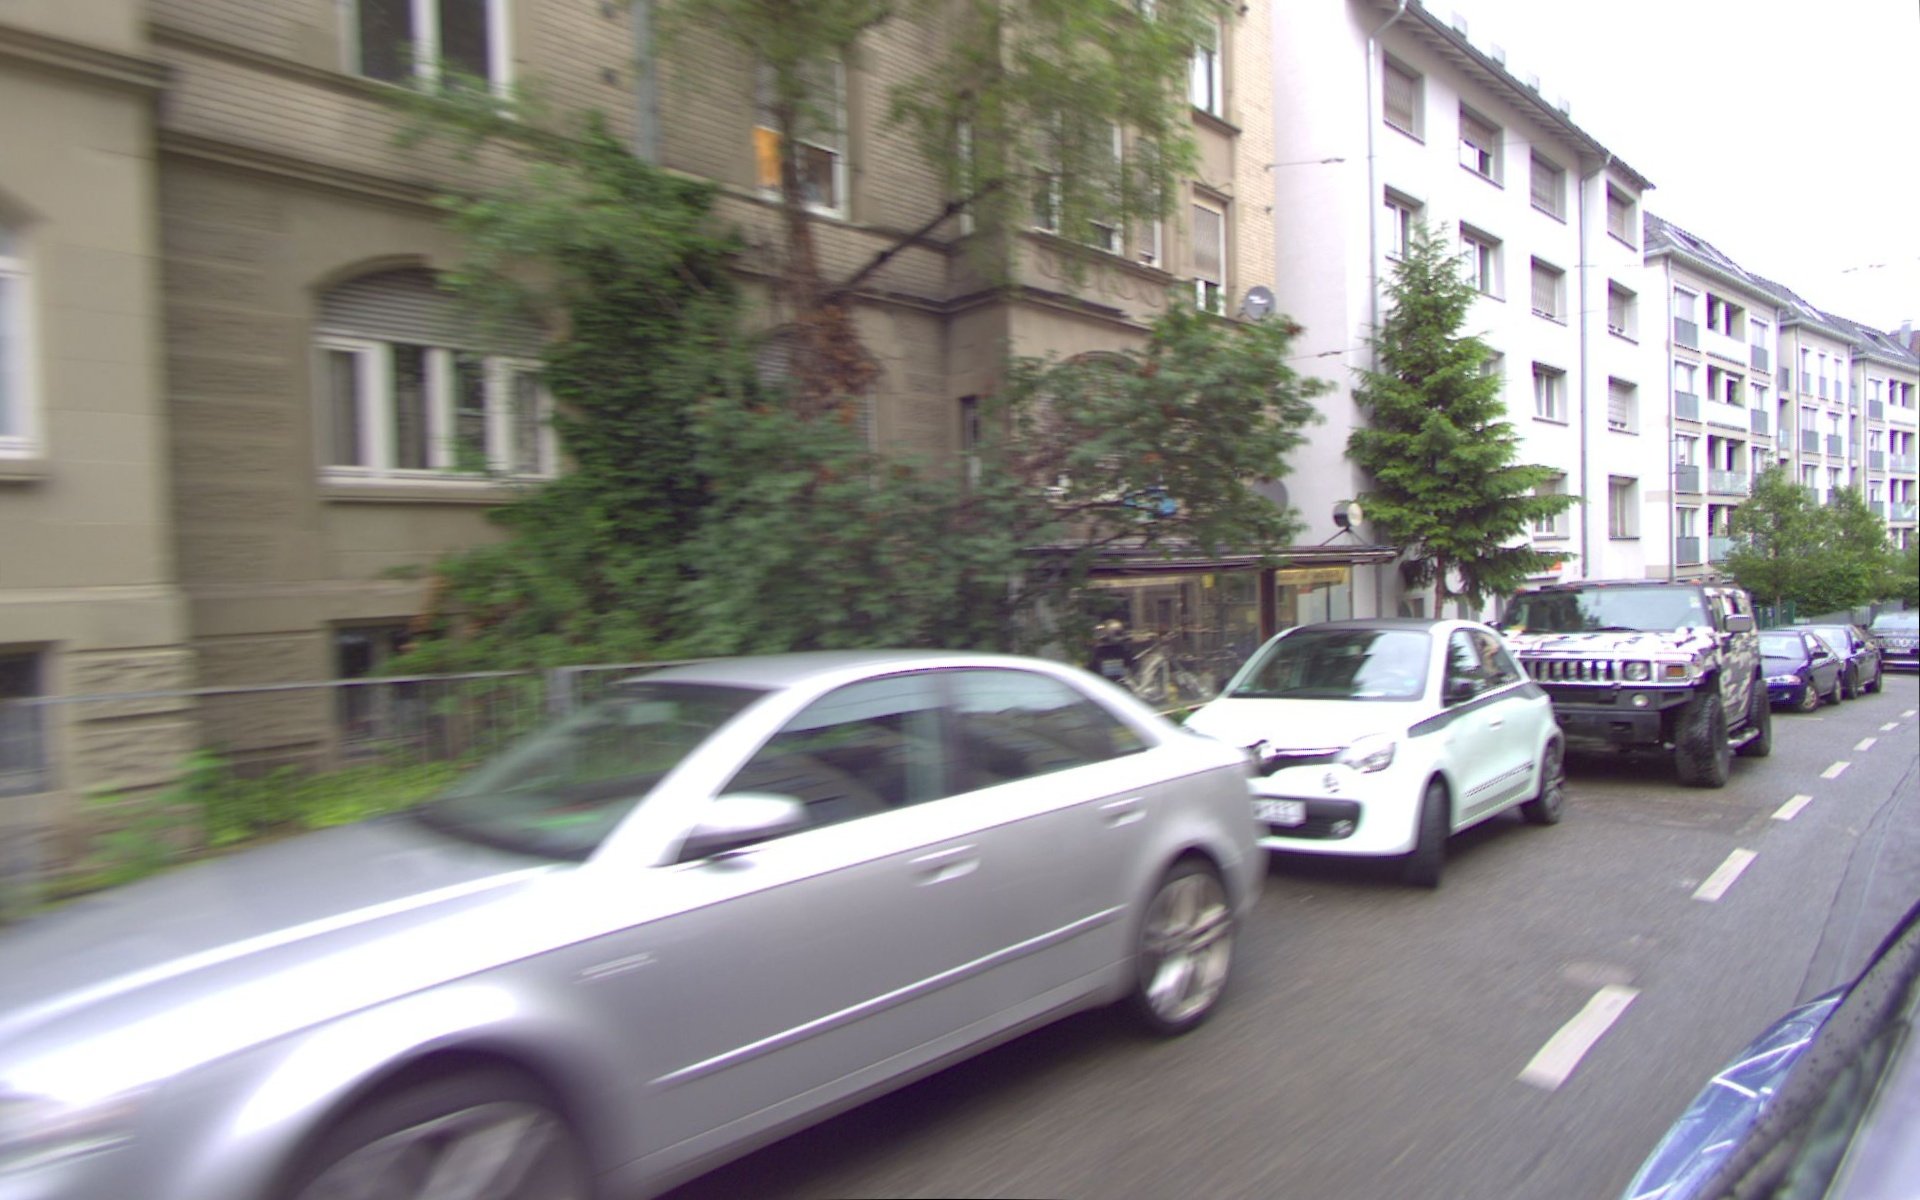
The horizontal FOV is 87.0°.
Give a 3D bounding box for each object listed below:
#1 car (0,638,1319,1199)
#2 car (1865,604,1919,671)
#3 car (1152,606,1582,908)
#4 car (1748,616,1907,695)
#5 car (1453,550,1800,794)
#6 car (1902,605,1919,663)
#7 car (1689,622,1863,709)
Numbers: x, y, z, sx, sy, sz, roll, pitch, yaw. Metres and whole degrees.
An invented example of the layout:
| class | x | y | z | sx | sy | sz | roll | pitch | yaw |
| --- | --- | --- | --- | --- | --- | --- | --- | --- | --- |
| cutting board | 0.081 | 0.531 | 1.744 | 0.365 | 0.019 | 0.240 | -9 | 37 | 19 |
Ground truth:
| class | x | y | z | sx | sy | sz | roll | pitch | yaw |
| --- | --- | --- | --- | --- | --- | --- | --- | --- | --- |
| car | -0.650 | 0.889 | 3.470 | 4.404 | 1.419 | 1.749 | 1 | -3 | -44 |
| car | 28.016 | 1.028 | 29.396 | 4.736 | 1.818 | 1.945 | 0 | -1 | -41 |
| car | 3.004 | 0.857 | 7.100 | 1.560 | 1.566 | 3.527 | -3 | -3 | 44 |
| car | 18.056 | 1.071 | 20.992 | 4.529 | 1.456 | 1.797 | 1 | -2 | -40 |
| car | 7.508 | 0.656 | 11.122 | 2.129 | 2.040 | 5.263 | -3 | -3 | 45 |
| car | 32.068 | 1.067 | 32.764 | 4.391 | 1.818 | 1.782 | 1 | -1 | -40 |
| car | 14.447 | 1.070 | 17.857 | 3.813 | 1.355 | 1.681 | 1 | -2 | -40 |
